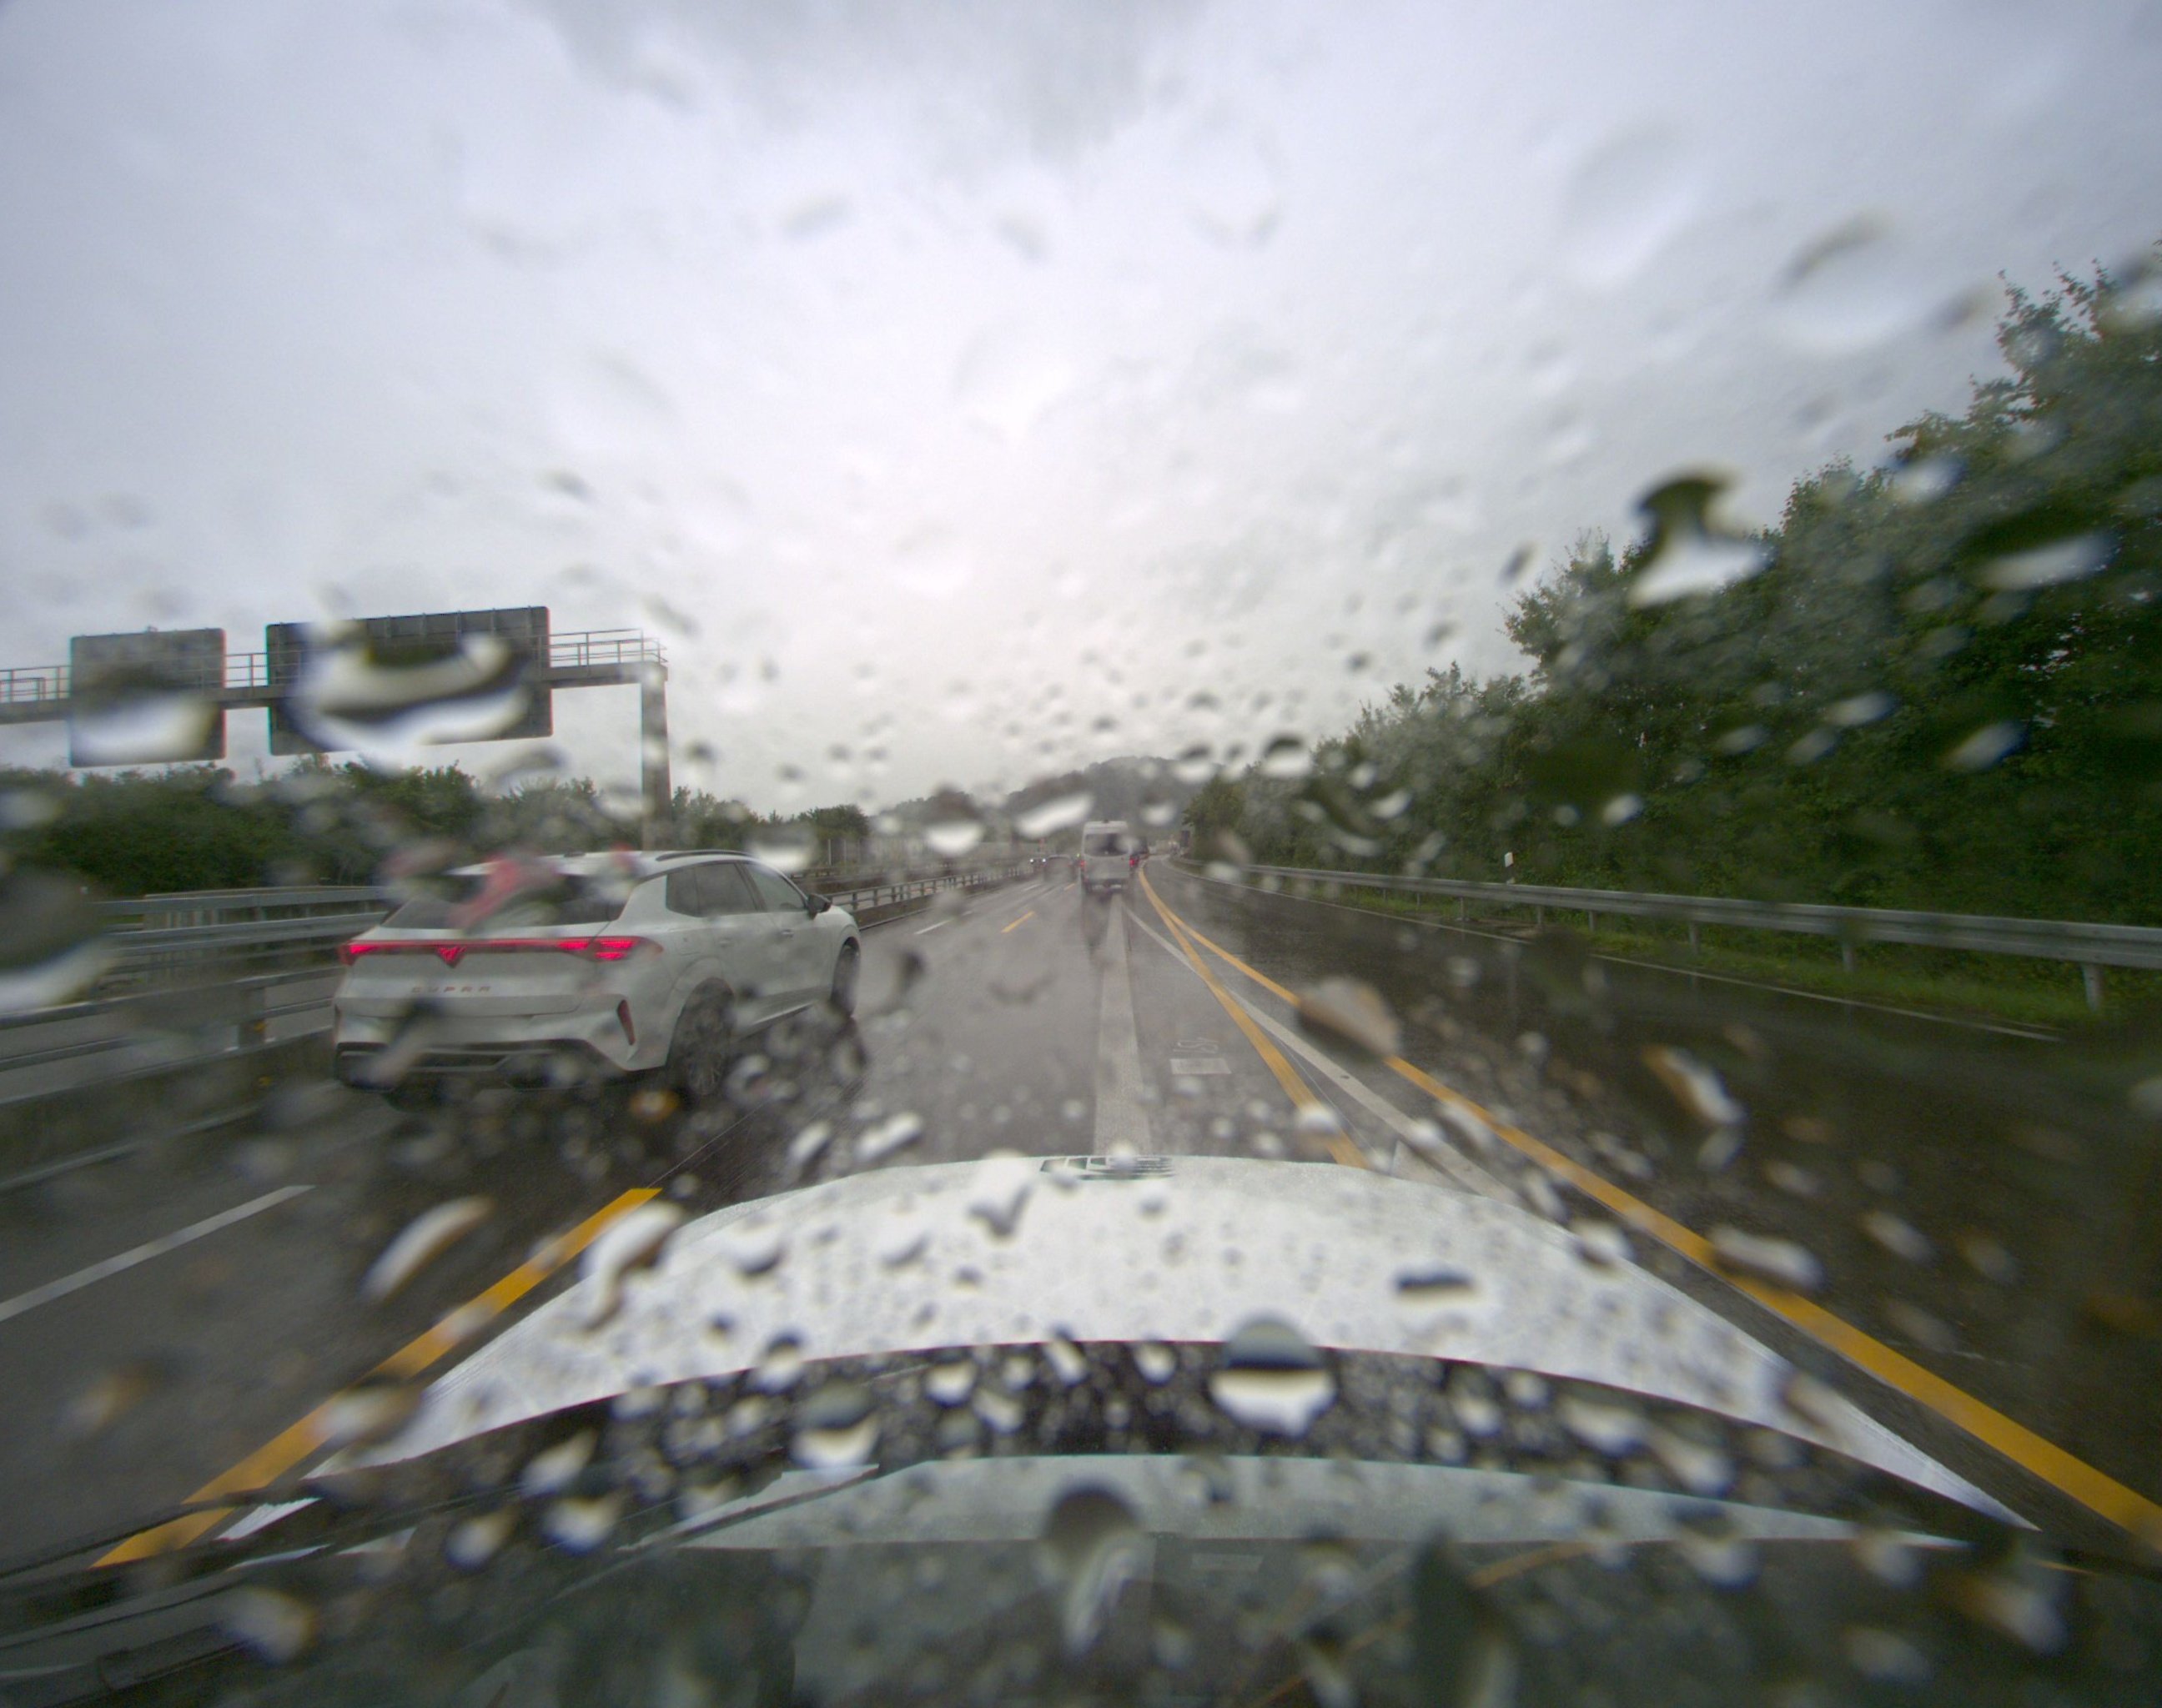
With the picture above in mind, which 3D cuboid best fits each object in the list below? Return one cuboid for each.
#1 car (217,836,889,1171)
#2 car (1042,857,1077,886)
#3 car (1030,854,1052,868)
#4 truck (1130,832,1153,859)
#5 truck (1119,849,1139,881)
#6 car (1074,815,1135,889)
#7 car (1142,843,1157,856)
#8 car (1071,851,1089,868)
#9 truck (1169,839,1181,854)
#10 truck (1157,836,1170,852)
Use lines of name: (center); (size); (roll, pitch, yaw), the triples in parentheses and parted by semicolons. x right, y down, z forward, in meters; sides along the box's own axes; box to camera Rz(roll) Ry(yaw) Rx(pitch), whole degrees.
car: (-3.141, 0.734, 6.357); (1.986, 1.617, 4.798); (0, 0, 2)
car: (-1.223, 0.977, 46.767); (1.941, 1.561, 3.998); (0, 0, -1)
car: (-4.410, 0.782, 90.127); (1.839, 1.502, 4.135); (0, 0, 4)
truck: (10.523, -1.441, 141.026); (3.562, 4.406, 9.642); (0, 0, 7)
truck: (5.050, 1.111, 85.704); (1.985, 3.109, 8.506); (0, 0, 4)
car: (0.993, -0.065, 31.521); (2.136, 2.571, 5.394); (0, 0, 3)
car: (15.904, -1.038, 189.057); (2.880, 2.887, 6.430); (0, 0, 11)
car: (-0.114, 0.570, 80.191); (1.701, 1.627, 4.000); (0, 0, 1)
truck: (30.032, -2.361, 259.448); (2.878, 4.406, 9.658); (-1, 0, 13)
truck: (22.909, -2.650, 225.885); (3.017, 4.406, 9.651); (0, 0, 10)
